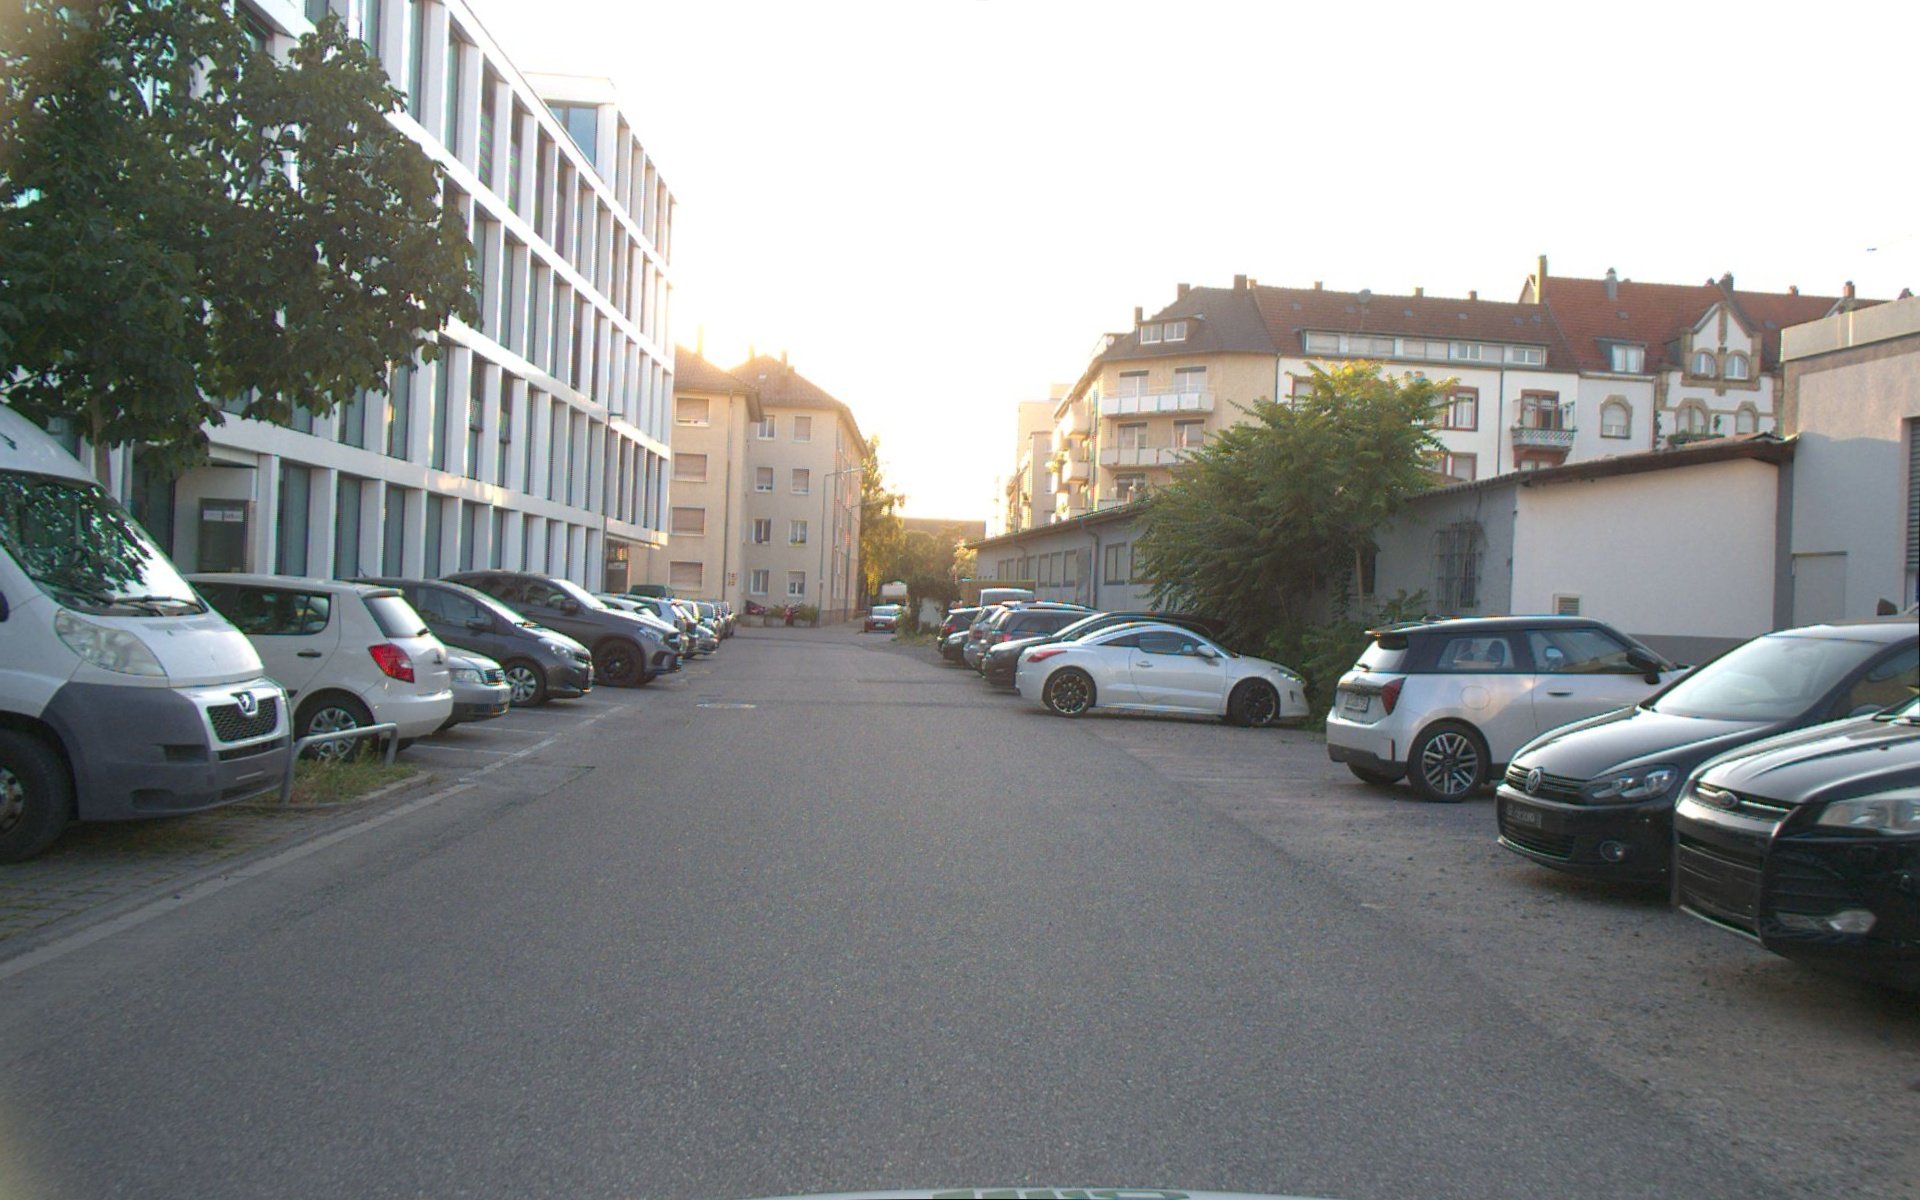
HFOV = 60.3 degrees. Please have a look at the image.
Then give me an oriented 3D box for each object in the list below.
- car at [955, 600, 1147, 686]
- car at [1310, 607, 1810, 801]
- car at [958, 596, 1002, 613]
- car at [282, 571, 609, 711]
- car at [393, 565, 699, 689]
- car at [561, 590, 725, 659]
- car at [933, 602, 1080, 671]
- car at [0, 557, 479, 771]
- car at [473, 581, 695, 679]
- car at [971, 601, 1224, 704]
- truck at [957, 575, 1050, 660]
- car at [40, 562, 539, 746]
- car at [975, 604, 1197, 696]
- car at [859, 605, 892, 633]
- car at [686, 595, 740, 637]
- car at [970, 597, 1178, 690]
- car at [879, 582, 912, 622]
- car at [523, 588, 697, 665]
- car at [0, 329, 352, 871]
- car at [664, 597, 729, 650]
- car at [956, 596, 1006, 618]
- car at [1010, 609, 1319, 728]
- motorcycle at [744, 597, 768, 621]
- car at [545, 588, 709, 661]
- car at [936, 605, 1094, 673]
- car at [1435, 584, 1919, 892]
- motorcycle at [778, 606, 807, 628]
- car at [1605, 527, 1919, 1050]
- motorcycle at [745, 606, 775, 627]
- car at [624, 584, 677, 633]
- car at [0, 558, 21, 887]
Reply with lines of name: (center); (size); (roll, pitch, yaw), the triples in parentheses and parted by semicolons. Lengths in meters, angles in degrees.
car: (1.966, 0.927, 36.494); (3.907, 1.637, 1.937); (3, 0, -6)
car: (5.016, 0.846, 14.098); (3.633, 1.505, 1.710); (1, 0, -6)
car: (1.838, 0.413, 150.287); (3.906, 1.557, 1.658); (1, 0, -2)
car: (-6.625, 0.513, 21.625); (3.707, 1.549, 1.692); (3, 0, -5)
car: (-6.849, 0.431, 27.738); (4.524, 1.736, 2.005); (3, 0, 1)
car: (-8.150, 0.624, 42.718); (3.847, 1.537, 1.687); (3, 0, -2)
car: (1.195, 0.947, 43.725); (3.685, 1.562, 1.890); (3, 1, -3)
car: (-6.188, 0.505, 14.071); (3.634, 1.521, 1.707); (3, 0, -3)
car: (-6.845, 0.533, 30.358); (3.591, 1.537, 1.696); (3, 0, 1)
car: (2.336, 0.909, 28.852); (4.119, 1.529, 1.888); (3, -1, -3)
truck: (1.181, 0.488, 47.895); (2.057, 2.239, 5.705); (2, 0, -4)
car: (-6.622, 0.516, 16.688); (4.221, 1.521, 1.794); (3, 0, -1)
car: (2.320, 0.930, 31.158); (3.905, 1.470, 1.825); (3, -1, -4)
car: (-4.812, 1.060, 94.624); (1.808, 1.499, 4.076); (2, 0, -3)
car: (-10.053, 0.632, 67.678); (1.745, 1.504, 4.327); (6, 0, -4)
car: (2.302, 0.872, 33.981); (3.909, 1.647, 1.824); (3, 0, -8)
car: (-5.440, 0.180, 139.933); (2.566, 3.326, 7.695); (0, 0, -1)
car: (-7.969, 0.592, 37.851); (3.581, 1.537, 1.687); (3, 0, -2)
car: (-6.514, -0.125, 9.306); (5.272, 2.678, 2.078); (3, 0, -2)
car: (-8.370, 0.727, 52.797); (1.616, 1.463, 4.180); (6, 0, -5)
car: (2.014, 0.632, 157.835); (4.716, 2.002, 1.738); (1, 0, -2)
car: (2.835, 0.946, 23.611); (4.117, 1.391, 1.823); (3, 0, -1)
motorcycle: (-11.336, 0.528, 91.974); (0.708, 1.287, 2.082); (2, 0, 9)
car: (-8.038, 0.586, 40.154); (3.581, 1.537, 1.687); (3, 0, -2)
car: (1.338, 0.968, 41.292); (3.687, 1.470, 1.843); (3, -1, -6)
car: (5.002, 0.739, 9.673); (3.929, 1.591, 1.709); (1, 0, -9)
motorcycle: (-9.335, 0.973, 92.276); (0.675, 1.181, 2.033); (2, 0, 23)
car: (5.049, 0.676, 6.630); (4.154, 1.771, 1.967); (1, 0, -1)
motorcycle: (-10.834, 0.905, 89.708); (0.708, 1.098, 2.081); (2, 0, 19)
car: (-13.563, 0.348, 72.668); (1.762, 2.014, 4.685); (2, 1, -5)
car: (-6.314, 0.467, 6.576); (4.030, 1.525, 1.772); (3, 0, -7)
